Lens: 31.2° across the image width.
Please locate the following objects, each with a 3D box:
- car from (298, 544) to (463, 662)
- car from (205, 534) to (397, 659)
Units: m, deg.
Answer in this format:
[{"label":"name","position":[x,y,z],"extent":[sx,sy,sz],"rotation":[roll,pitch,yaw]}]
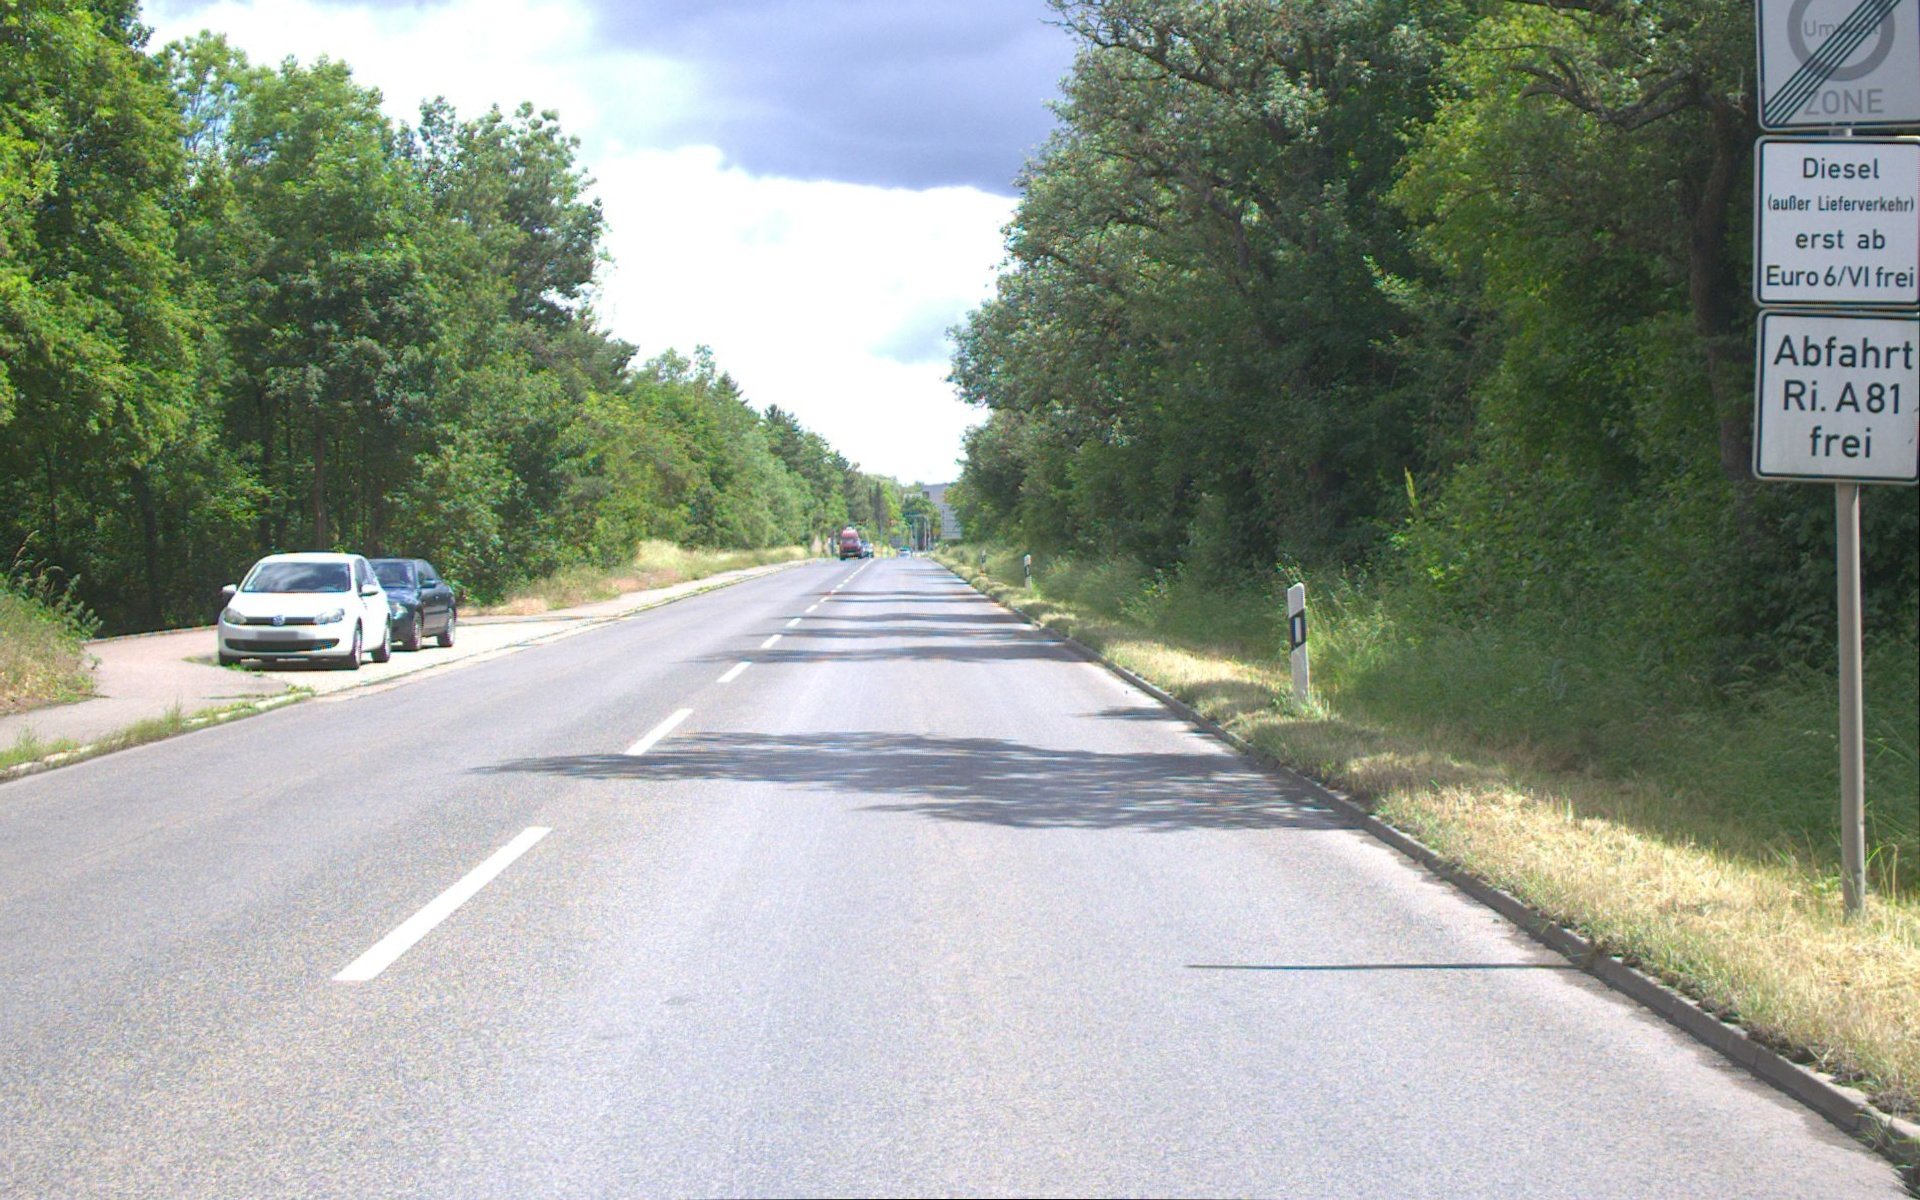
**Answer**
[{"label":"car","position":[-8.783,0.013,52.375],"extent":[1.798,1.619,3.955],"rotation":[-1,2,0]},{"label":"car","position":[-8.546,-0.043,44.868],"extent":[1.798,1.538,3.955],"rotation":[-1,0,-1]}]
